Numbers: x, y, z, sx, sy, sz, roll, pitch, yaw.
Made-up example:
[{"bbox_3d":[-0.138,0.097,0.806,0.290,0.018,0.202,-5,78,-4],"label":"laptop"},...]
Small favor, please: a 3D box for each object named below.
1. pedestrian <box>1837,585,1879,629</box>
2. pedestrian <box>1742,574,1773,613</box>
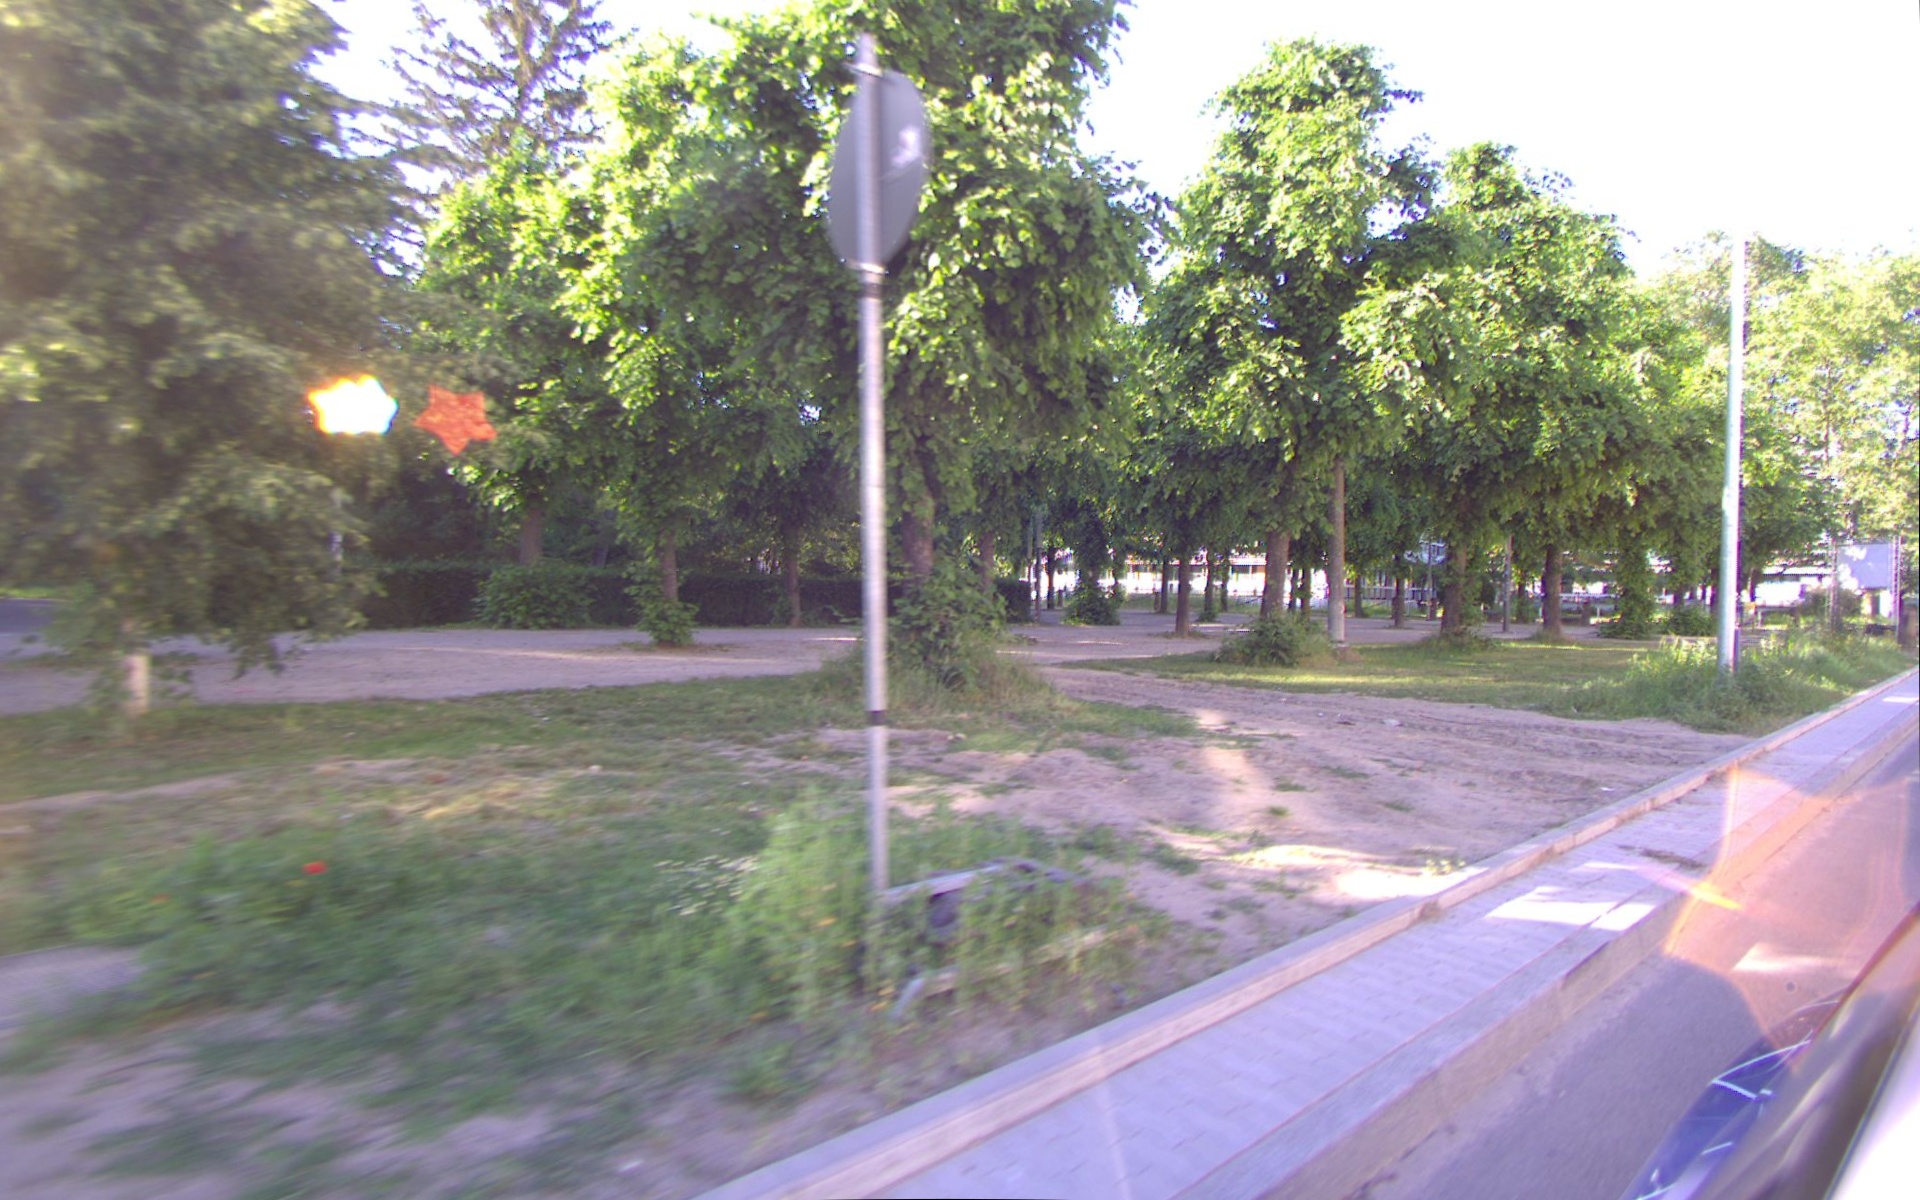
[{"bbox_3d":[33.738,0.262,38.045,0.923,1.644,0.709,1,0,8],"label":"pedestrian"},{"bbox_3d":[38.771,-0.296,49.202,1.127,1.836,0.737,2,-1,36],"label":"pedestrian"}]
